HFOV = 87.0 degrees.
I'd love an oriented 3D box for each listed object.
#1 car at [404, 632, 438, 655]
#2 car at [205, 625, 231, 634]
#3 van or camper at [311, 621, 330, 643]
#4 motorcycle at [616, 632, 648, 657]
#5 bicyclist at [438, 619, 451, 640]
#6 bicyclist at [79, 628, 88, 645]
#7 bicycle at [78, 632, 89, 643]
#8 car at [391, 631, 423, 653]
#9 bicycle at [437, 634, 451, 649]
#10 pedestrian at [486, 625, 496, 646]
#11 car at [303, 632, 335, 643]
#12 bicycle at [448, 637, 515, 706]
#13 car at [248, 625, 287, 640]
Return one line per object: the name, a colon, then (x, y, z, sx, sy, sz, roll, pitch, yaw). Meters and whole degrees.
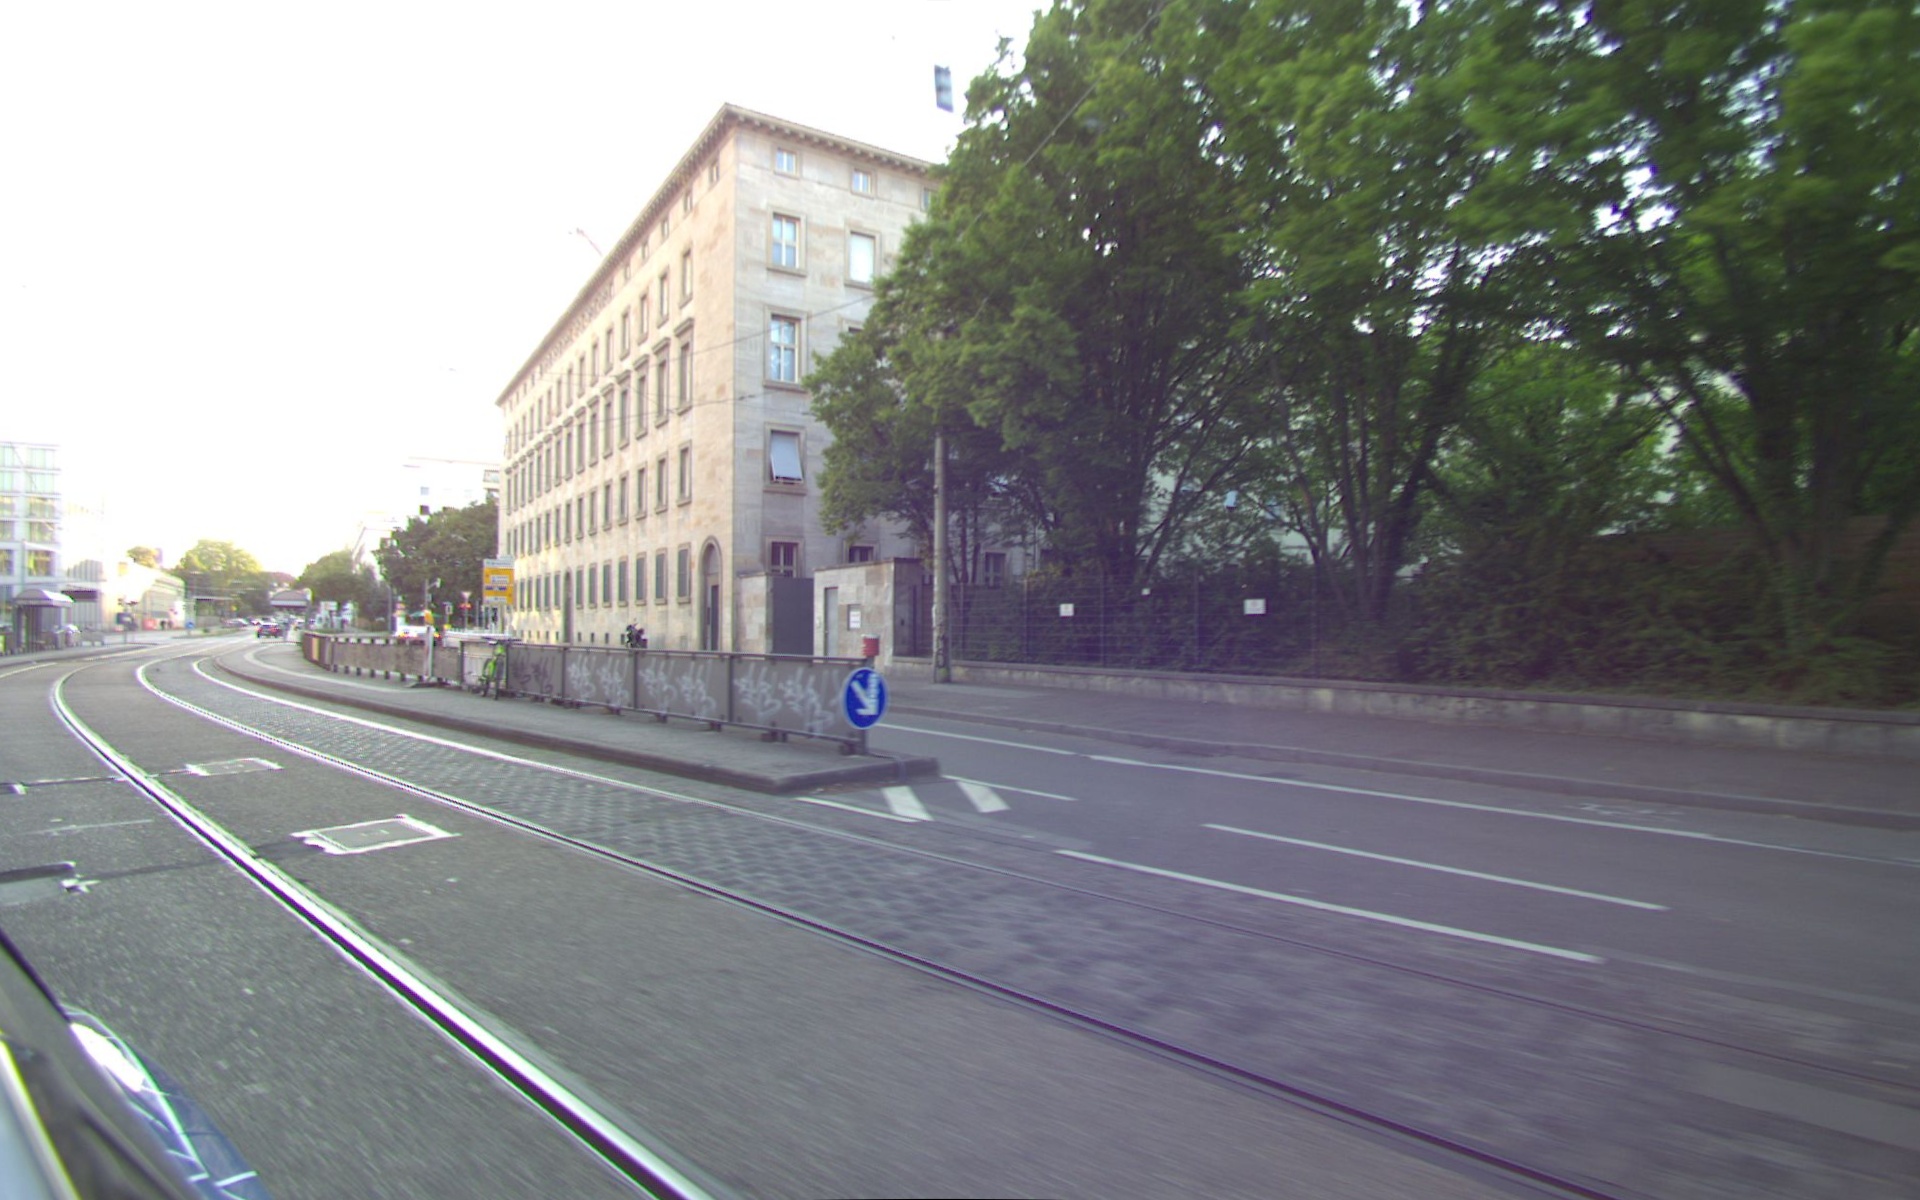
car: (-35.063, 2.838, 65.768, 1.620, 1.438, 3.715, 2, -3, -33)
car: (-139.035, 5.555, 189.653, 3.745, 1.661, 1.868, 1, -2, -33)
van or camper: (-87.316, 4.400, 138.245, 2.076, 2.702, 4.723, 0, -4, -31)
motorcycle: (-14.668, 1.966, 45.194, 0.689, 1.083, 2.661, 1, -2, -33)
bicyclist: (-36.244, 2.053, 71.107, 0.745, 1.452, 0.598, 1, -2, -32)
bicyclist: (-84.584, 3.482, 97.684, 0.532, 1.648, 0.598, 1, -2, -32)
bicycle: (-84.640, 3.649, 97.760, 0.531, 1.059, 1.766, 1, -2, -32)
car: (-38.833, 2.953, 71.050, 1.620, 1.438, 4.244, 3, -3, -33)
bicycle: (-36.186, 2.893, 71.014, 0.731, 1.025, 1.766, 1, -2, -32)
pedestrian: (-38.389, 2.926, 82.811, 0.686, 1.723, 0.648, 1, -2, -30)
car: (-99.312, 5.736, 156.842, 4.310, 1.676, 1.876, -1, -2, 18)
bicycle: (-8.104, 1.177, 17.094, 0.456, 1.083, 2.024, 2, -2, -41)
car: (-68.645, 3.237, 100.420, 1.670, 1.431, 4.183, 0, -2, -12)
